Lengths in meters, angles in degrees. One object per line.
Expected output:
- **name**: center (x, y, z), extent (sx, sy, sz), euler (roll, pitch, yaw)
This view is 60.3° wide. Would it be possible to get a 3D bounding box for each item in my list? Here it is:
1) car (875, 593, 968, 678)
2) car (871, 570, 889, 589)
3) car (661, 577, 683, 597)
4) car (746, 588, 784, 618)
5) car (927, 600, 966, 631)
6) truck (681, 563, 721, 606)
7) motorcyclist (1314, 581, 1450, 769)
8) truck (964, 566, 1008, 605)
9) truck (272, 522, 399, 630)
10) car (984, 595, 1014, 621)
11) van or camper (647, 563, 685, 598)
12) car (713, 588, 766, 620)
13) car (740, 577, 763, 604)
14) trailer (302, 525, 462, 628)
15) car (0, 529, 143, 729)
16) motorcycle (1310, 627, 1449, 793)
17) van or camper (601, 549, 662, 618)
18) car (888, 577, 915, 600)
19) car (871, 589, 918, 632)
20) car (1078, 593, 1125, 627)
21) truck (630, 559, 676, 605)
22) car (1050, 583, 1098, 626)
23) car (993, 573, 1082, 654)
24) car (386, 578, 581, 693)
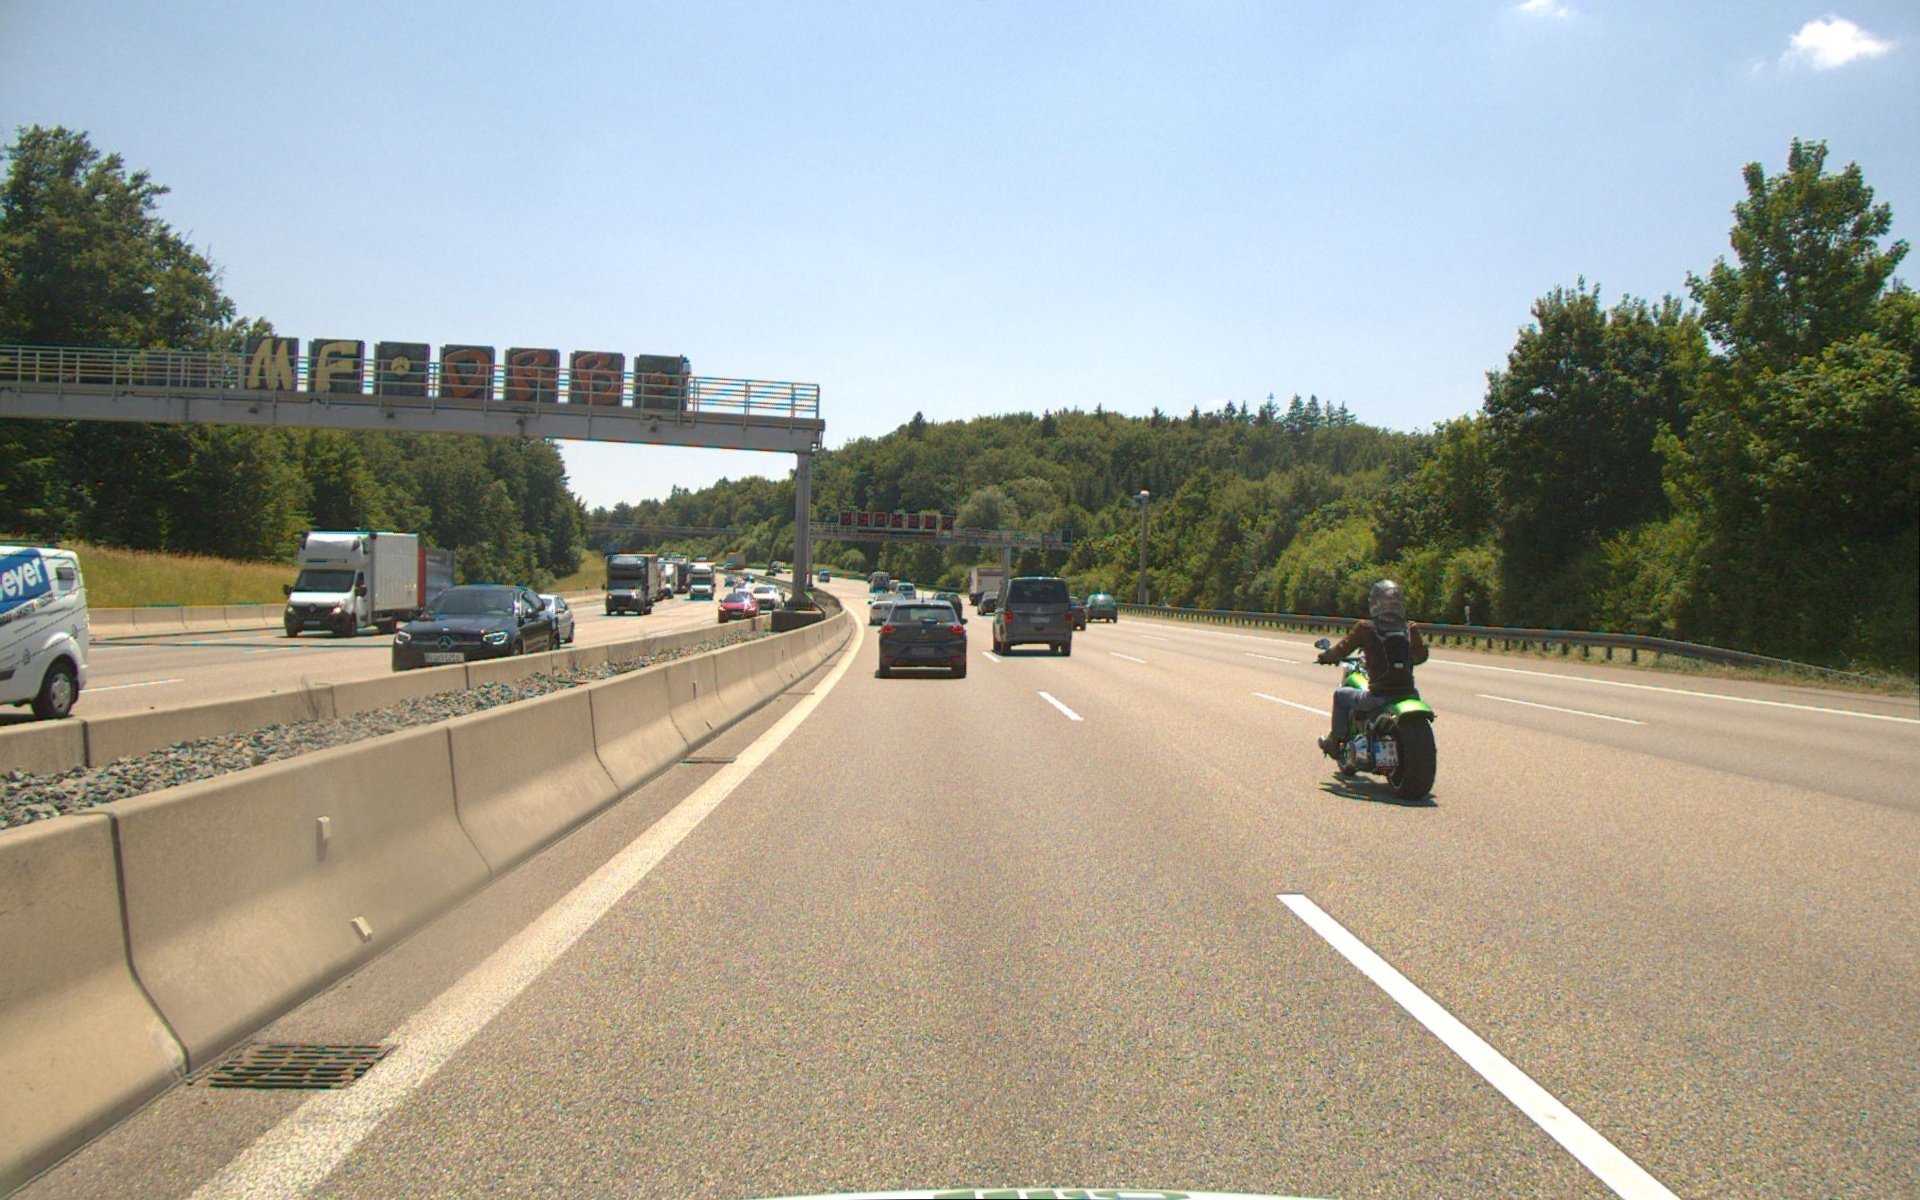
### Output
- **car**: center (-0.762, 0.652, 32.371), extent (1.673, 1.458, 3.999), euler (1, 1, -2)
- **car**: center (-10.172, -2.585, 210.089), extent (2.219, 2.412, 4.700), euler (0, 1, -2)
- **car**: center (-32.531, -1.462, 186.776), extent (1.954, 2.049, 3.997), euler (1, -1, -3)
- **car**: center (-11.742, 0.190, 99.740), extent (1.953, 1.758, 3.999), euler (0, 0, -2)
- **car**: center (-0.807, 0.867, 95.068), extent (1.954, 1.758, 4.145), euler (0, 0, -4)
- **truck**: center (-24.141, -1.396, 154.484), extent (2.874, 3.870, 9.335), euler (0, 0, -4)
- **motorcyclist**: center (3.359, 0.572, 13.249), extent (0.835, 1.452, 1.023), euler (0, 1, 0)
- **truck**: center (2.241, -1.271, 144.341), extent (2.928, 3.221, 7.565), euler (1, 2, -6)
- **truck**: center (-19.723, -0.730, 52.464), extent (2.438, 3.222, 4.399), euler (1, 0, -3)
- **car**: center (2.424, 0.476, 103.084), extent (1.632, 1.433, 4.902), euler (1, 2, -2)
- **van or camper**: center (-28.652, -1.827, 161.328), extent (2.710, 3.180, 8.087), euler (1, -1, -4)
- **car**: center (-10.432, 0.164, 78.682), extent (2.007, 1.467, 5.218), euler (0, 0, -2)
- **car**: center (-20.732, -0.969, 164.562), extent (1.954, 2.620, 4.166), euler (1, 0, -3)
- **trailer**: center (-20.042, -0.682, 58.102), extent (2.426, 3.209, 10.472), euler (1, -1, -3)
- **car**: center (-11.101, 0.300, 16.933), extent (2.151, 2.091, 7.137), euler (0, 0, -2)
- **motorcycle**: center (3.380, 0.840, 13.526), extent (0.524, 1.155, 2.437), euler (0, 1, 0)
- **van or camper**: center (-18.585, -0.905, 93.964), extent (2.382, 3.742, 7.752), euler (0, 0, -4)
- **car**: center (-4.997, -1.006, 140.976), extent (2.062, 1.774, 4.684), euler (1, 2, -4)
- **car**: center (-3.000, 0.503, 76.862), extent (1.971, 1.878, 3.999), euler (0, -2, 1)
- **car**: center (7.407, 0.515, 87.041), extent (1.954, 1.758, 3.997), euler (0, 0, -3)
- **truck**: center (-26.833, -1.540, 145.051), extent (2.813, 3.762, 9.232), euler (1, -1, -4)
- **car**: center (4.848, 0.188, 70.910), extent (1.811, 1.758, 4.000), euler (0, 0, 1)
- **car**: center (2.022, 0.340, 44.588), extent (1.924, 2.069, 5.080), euler (0, 0, -3)
- **car**: center (-7.770, 0.575, 27.460), extent (1.789, 1.691, 4.916), euler (1, -1, 0)
